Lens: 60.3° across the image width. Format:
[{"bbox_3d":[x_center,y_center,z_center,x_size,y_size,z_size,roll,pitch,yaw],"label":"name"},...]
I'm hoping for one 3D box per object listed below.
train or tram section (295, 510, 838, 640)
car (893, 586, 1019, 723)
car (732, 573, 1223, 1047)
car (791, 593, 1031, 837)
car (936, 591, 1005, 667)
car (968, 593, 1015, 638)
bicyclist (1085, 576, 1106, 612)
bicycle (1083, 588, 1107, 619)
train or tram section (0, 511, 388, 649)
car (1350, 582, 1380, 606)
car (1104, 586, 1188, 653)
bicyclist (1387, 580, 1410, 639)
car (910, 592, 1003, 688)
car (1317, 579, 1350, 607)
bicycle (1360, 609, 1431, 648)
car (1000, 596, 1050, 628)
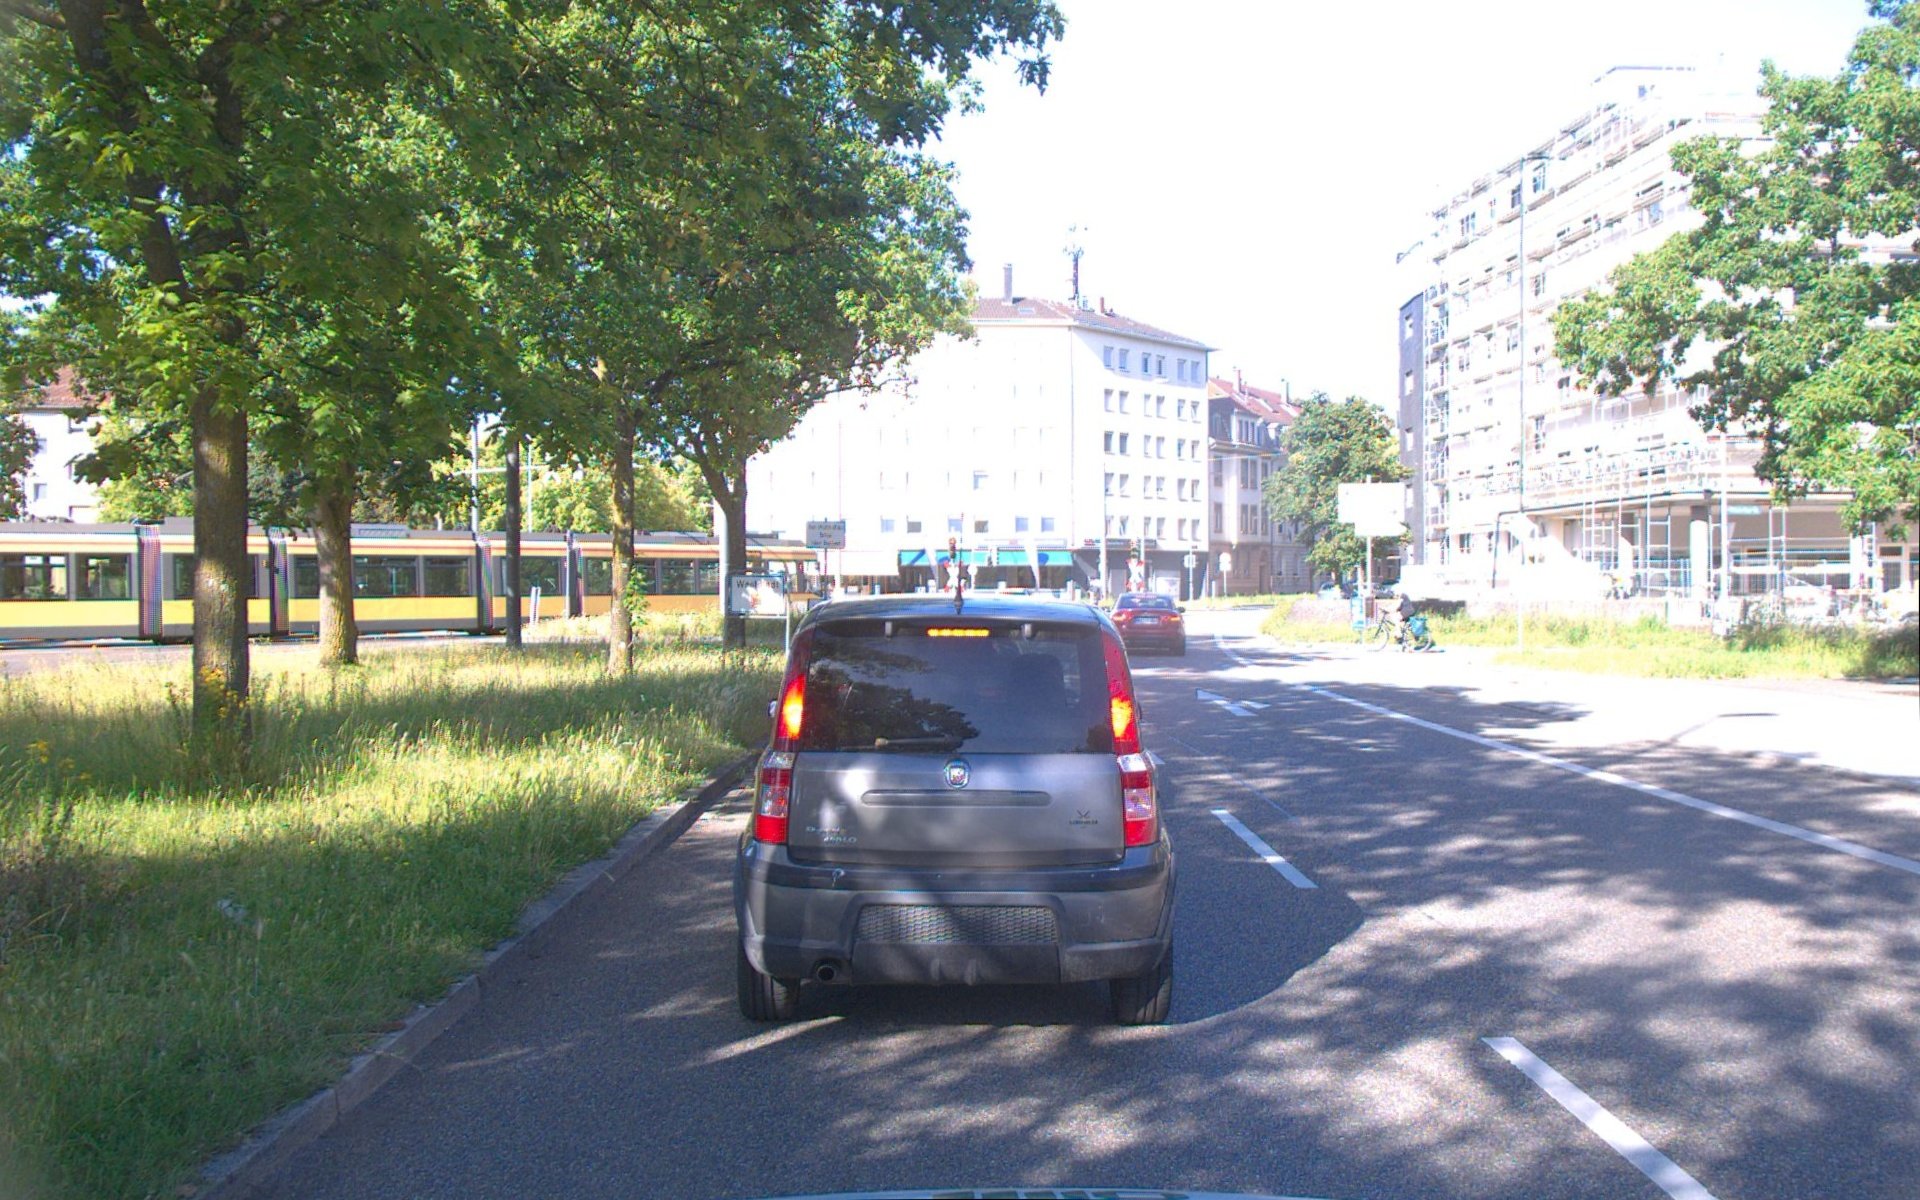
[{"bbox_3d":[-12.618,-0.874,57.827,3.245,3.836,20.700,0,1,40],"label":"train or tram section"},{"bbox_3d":[-0.071,0.605,20.670,1.434,1.534,3.504,0,1,-1],"label":"car"},{"bbox_3d":[0.032,0.662,7.409,1.595,1.534,3.999,0,1,-1],"label":"car"},{"bbox_3d":[-0.318,0.683,11.625,1.434,1.425,3.393,0,1,-1],"label":"car"},{"bbox_3d":[0.179,0.558,33.858,1.328,1.475,3.265,0,0,-1],"label":"car"},{"bbox_3d":[0.920,0.445,49.609,1.328,1.304,2.875,0,1,-1],"label":"car"},{"bbox_3d":[5.558,-0.257,67.879,0.726,1.463,0.845,1,0,-2],"label":"bicyclist"},{"bbox_3d":[5.547,0.156,67.962,0.694,1.219,2.519,1,0,-2],"label":"bicycle"},{"bbox_3d":[-25.540,-0.538,44.591,19.188,3.574,3.261,-1,1,-39],"label":"train or tram section"},{"bbox_3d":[23.119,-0.340,94.376,1.495,1.337,3.289,0,1,17],"label":"car"},{"bbox_3d":[4.376,0.417,39.405,1.847,1.453,4.389,0,1,4],"label":"car"},{"bbox_3d":[11.226,0.237,42.366,0.571,1.519,0.551,0,0,14],"label":"bicyclist"},{"bbox_3d":[-0.078,0.611,27.218,1.434,1.449,3.381,0,1,-1],"label":"car"},{"bbox_3d":[20.509,-0.395,90.709,1.646,1.475,3.574,0,1,15],"label":"car"},{"bbox_3d":[11.156,0.724,42.400,1.751,0.961,0.560,0,0,14],"label":"bicycle"},{"bbox_3d":[2.287,0.403,57.699,1.118,1.083,2.723,0,1,17],"label":"car"}]
